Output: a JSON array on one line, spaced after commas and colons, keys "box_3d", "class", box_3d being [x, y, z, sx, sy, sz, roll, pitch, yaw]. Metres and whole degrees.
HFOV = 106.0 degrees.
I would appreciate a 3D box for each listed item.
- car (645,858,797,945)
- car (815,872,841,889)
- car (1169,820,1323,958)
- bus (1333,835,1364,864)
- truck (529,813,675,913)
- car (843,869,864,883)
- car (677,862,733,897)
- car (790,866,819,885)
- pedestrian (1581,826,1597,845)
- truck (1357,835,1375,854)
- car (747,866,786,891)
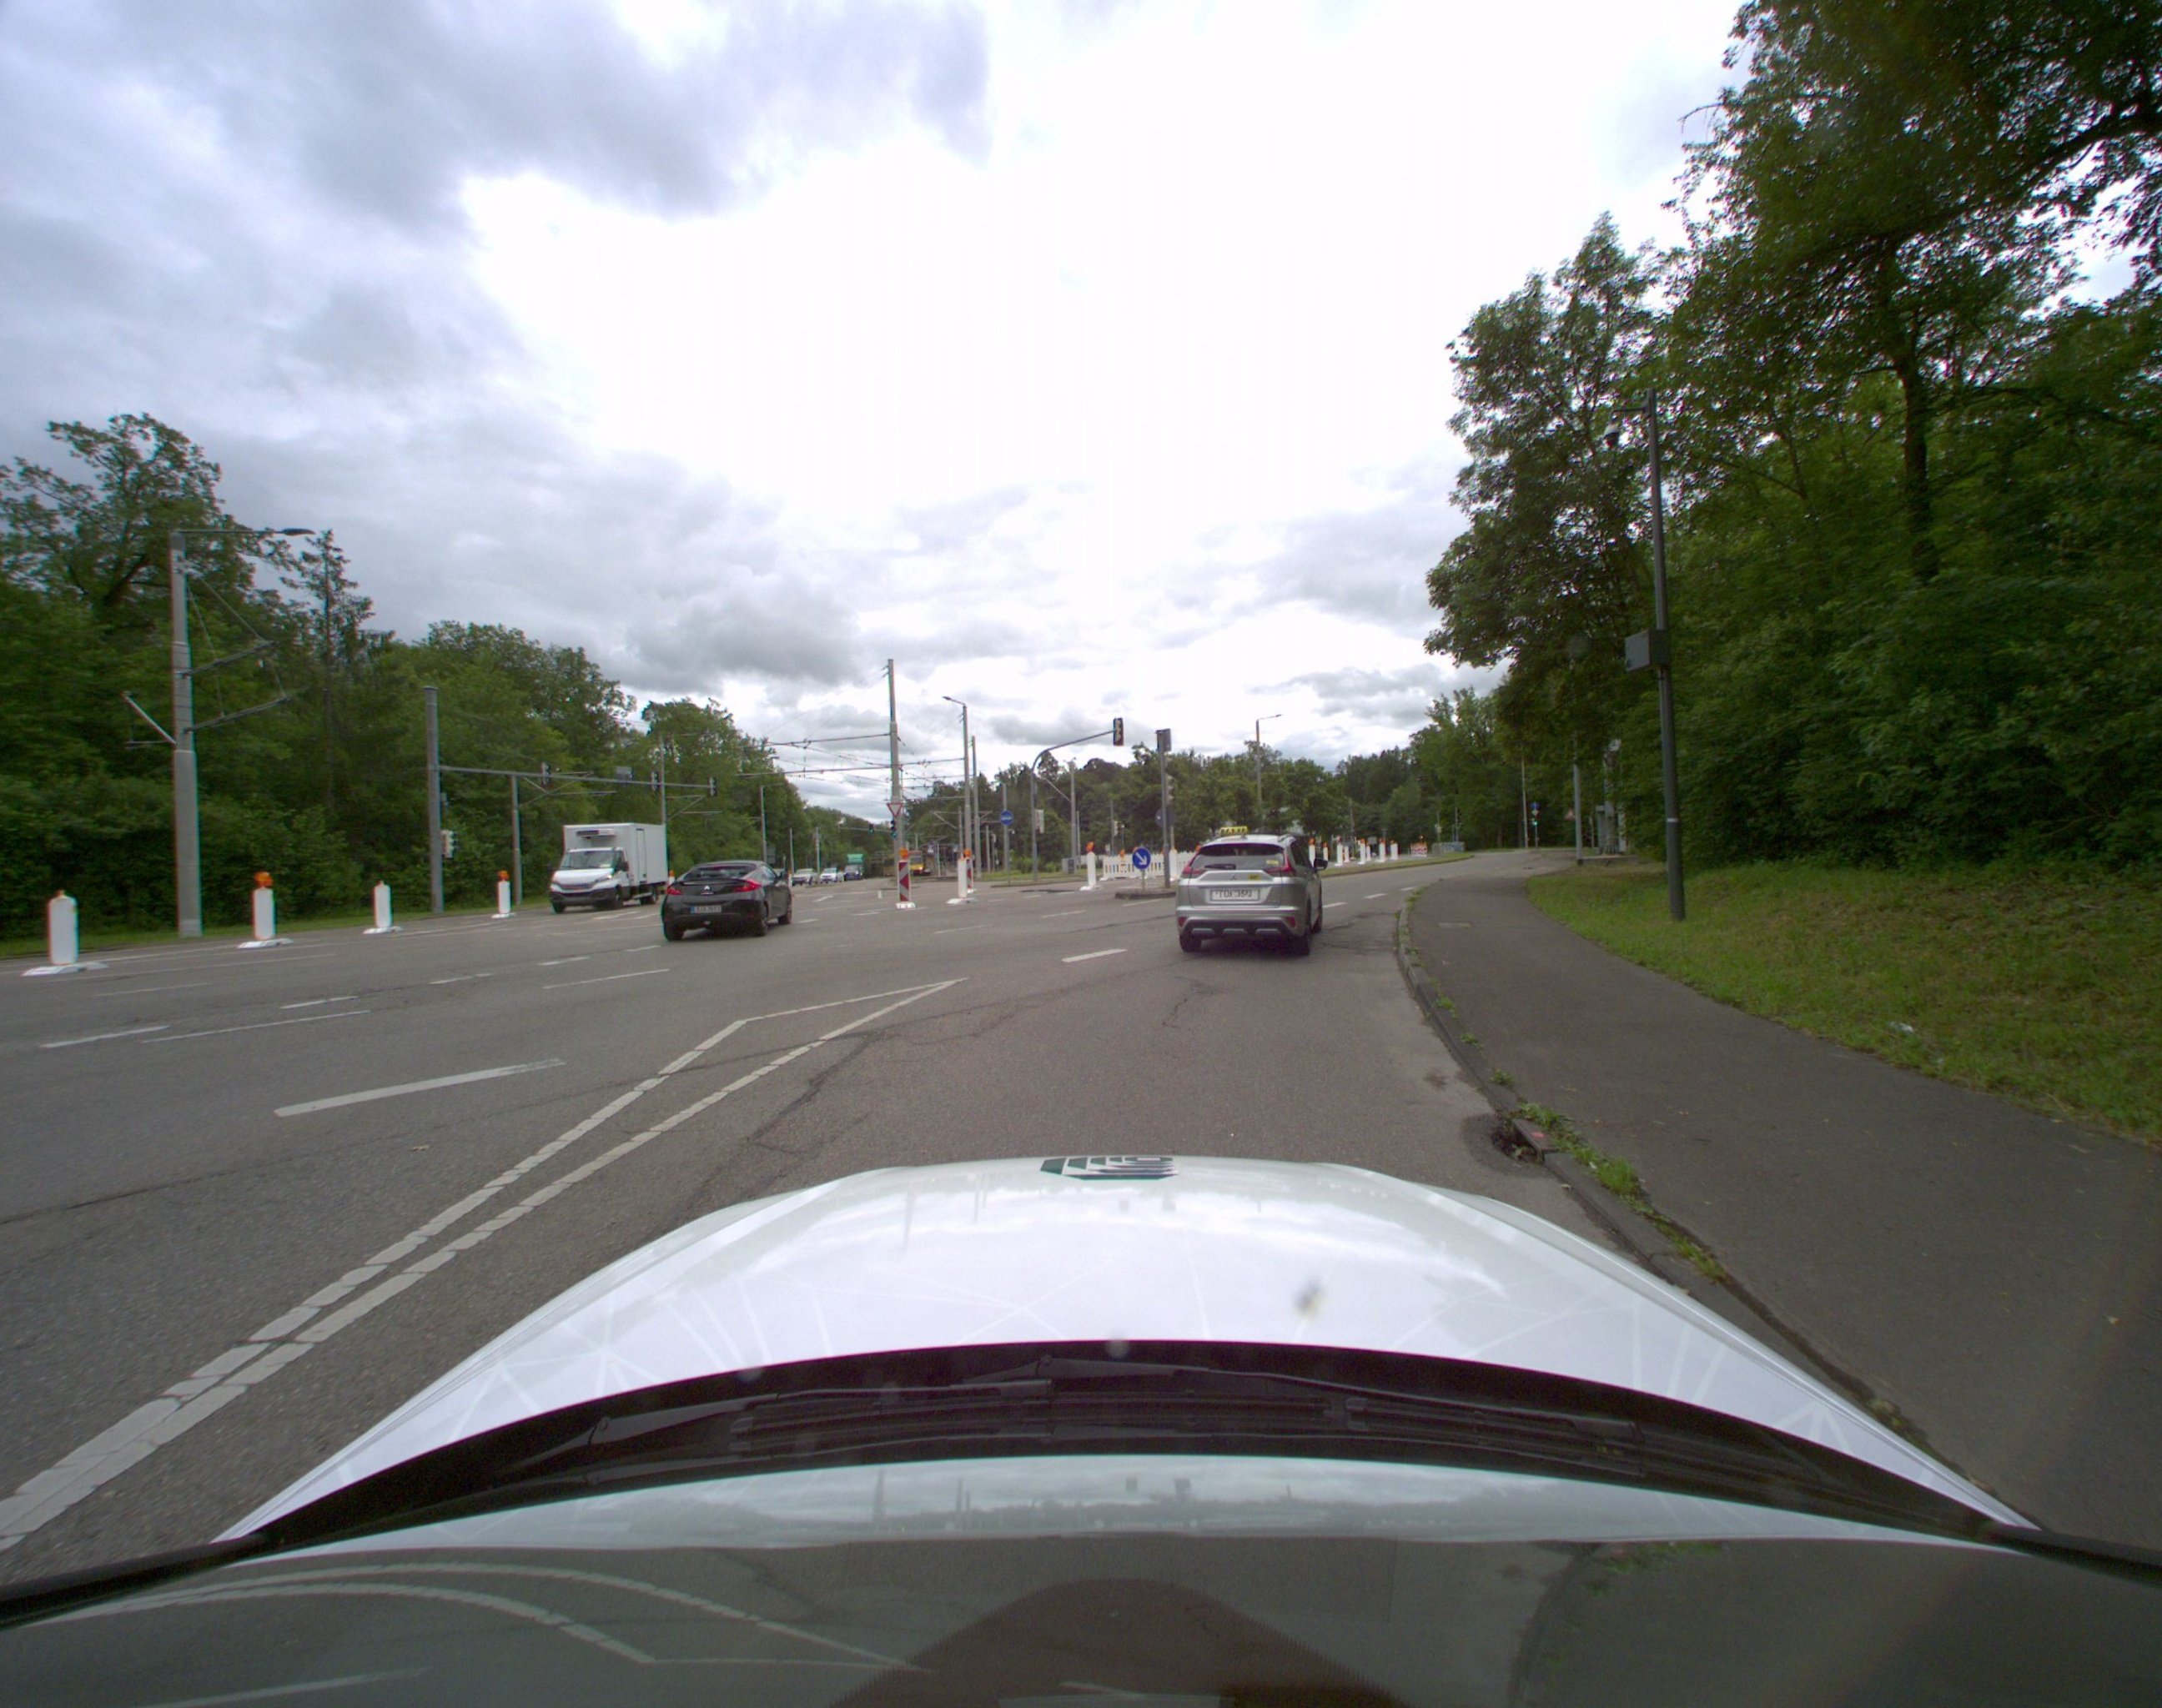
[{"box_3d": [-6.647, 0.825, 15.444, 1.774, 1.361, 3.464, -3, -1, -10], "class": "car"}, {"box_3d": [-26.416, 2.732, 85.187, 1.962, 1.541, 4.380, -3, 0, -10], "class": "car"}, {"box_3d": [2.645, 0.469, 12.366, 1.759, 1.748, 3.799, -1, -1, 19], "class": "car"}, {"box_3d": [36.694, -0.622, 112.002, 2.802, 3.603, 12.850, -2, 0, 13], "class": "bus"}, {"box_3d": [-17.793, 0.354, 30.834, 2.451, 3.224, 7.125, -3, -1, -12], "class": "truck"}, {"box_3d": [-28.075, 2.677, 100.642, 1.962, 1.540, 4.295, -3, 0, -10], "class": "car"}, {"box_3d": [-20.977, 1.402, 45.592, 1.966, 1.750, 4.820, -3, 0, -15], "class": "car"}, {"box_3d": [-26.343, 2.038, 77.771, 1.962, 1.607, 4.295, -3, 0, -10], "class": "car"}, {"box_3d": [41.387, -1.502, 66.338, 0.794, 1.506, 0.833, -2, -1, -40], "class": "pedestrian"}, {"box_3d": [51.598, -1.697, 147.488, 2.465, 3.287, 8.555, -3, -1, 16], "class": "truck"}, {"box_3d": [-25.309, 1.922, 65.732, 1.962, 1.845, 4.673, -3, 0, -10], "class": "car"}]
